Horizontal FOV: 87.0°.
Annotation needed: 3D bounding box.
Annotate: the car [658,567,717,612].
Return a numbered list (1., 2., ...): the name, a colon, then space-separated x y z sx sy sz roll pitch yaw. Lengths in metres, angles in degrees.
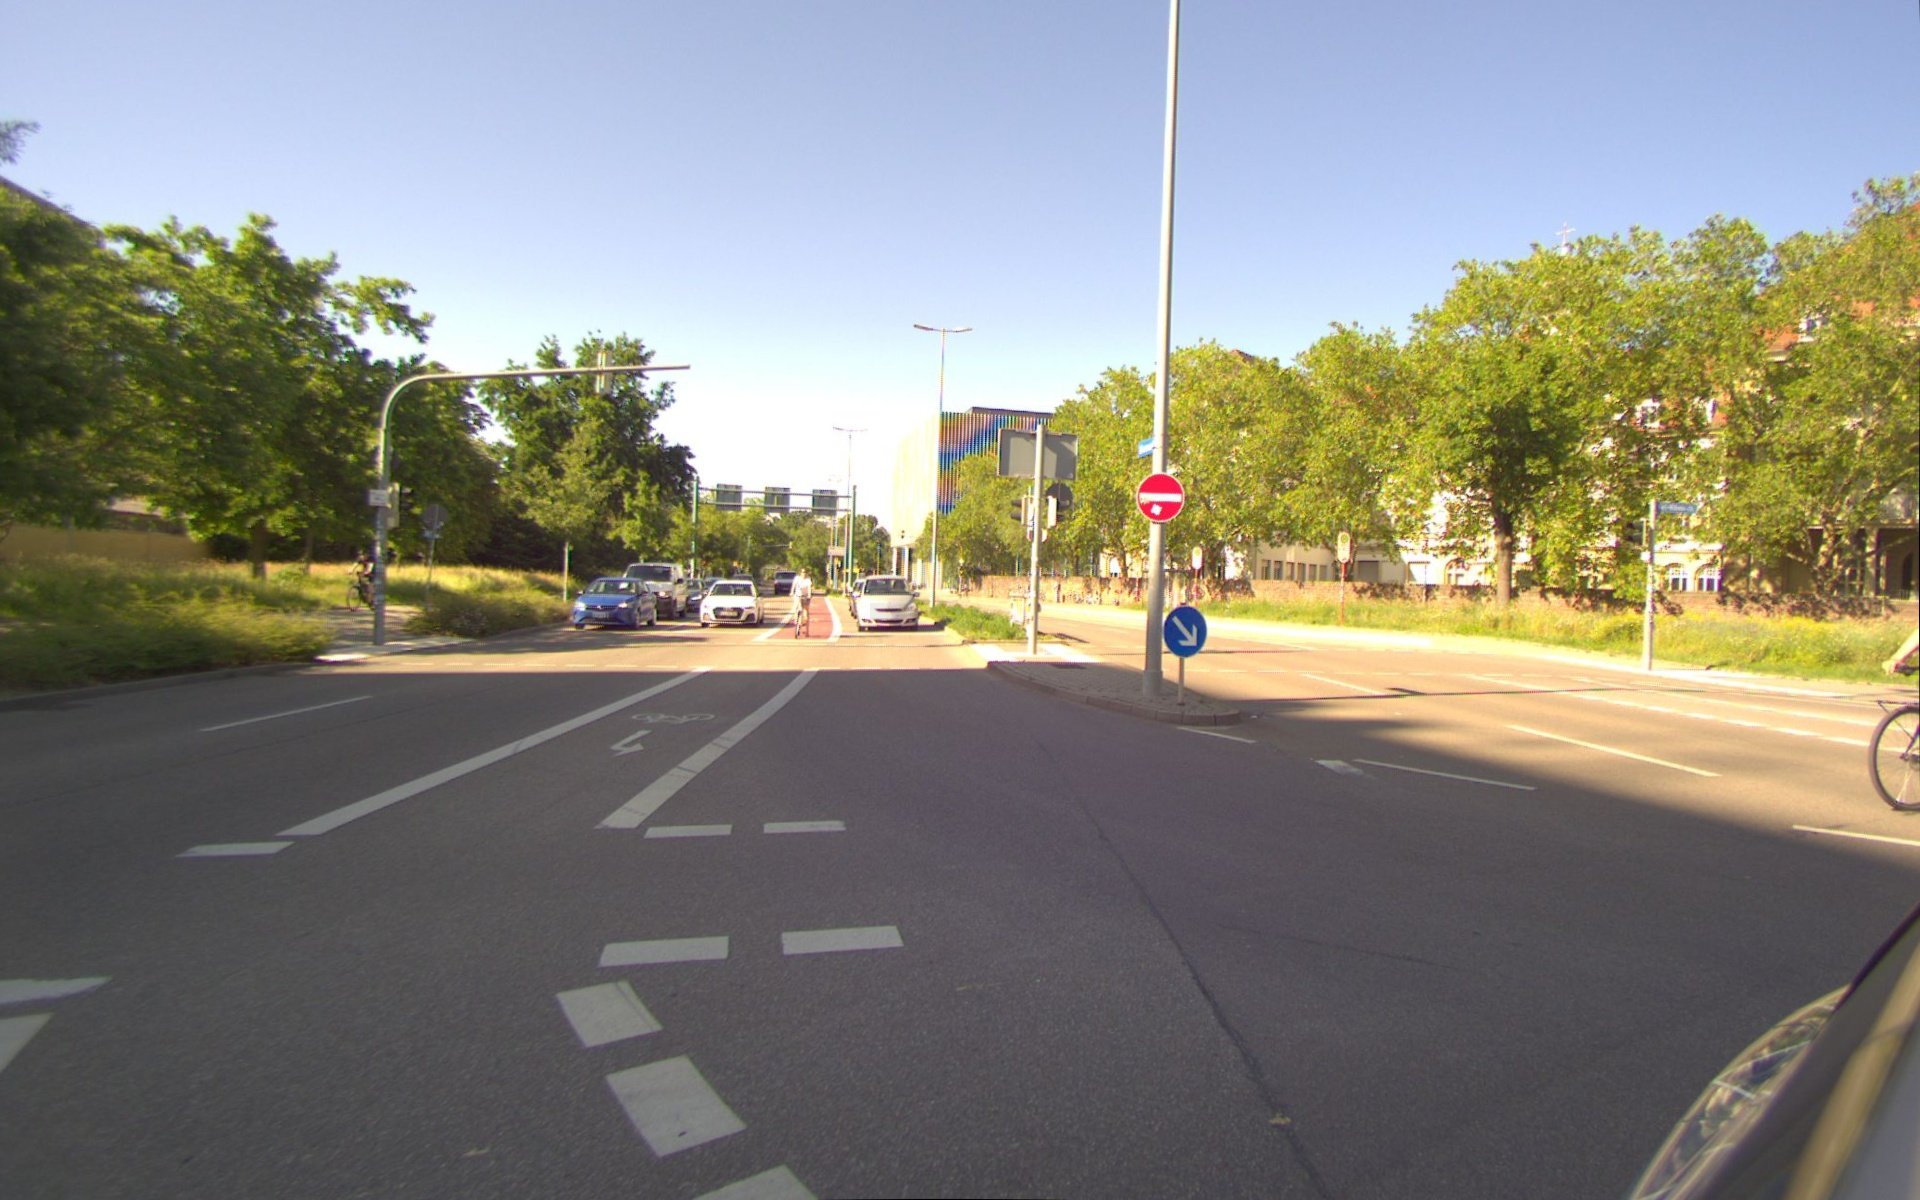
1. car: -11.646 -0.476 43.531 1.900 1.821 4.367 0 1 -7

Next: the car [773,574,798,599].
1. car: -14.277 -1.088 82.816 1.899 1.977 4.539 0 1 -8

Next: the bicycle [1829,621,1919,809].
1. bicycle: 6.987 0.747 6.868 1.831 1.179 0.644 0 1 -11

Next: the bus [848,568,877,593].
1. bus: -13.936 -2.804 144.845 2.925 3.315 6.268 2 -1 -16

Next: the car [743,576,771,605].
1. car: -14.452 -0.701 72.084 1.899 1.977 4.766 0 1 -11

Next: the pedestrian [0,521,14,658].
1. pedestrian: -13.247 -0.153 13.371 0.719 1.839 0.734 1 -2 6

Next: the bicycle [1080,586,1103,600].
1. bicycle: 10.663 -0.541 82.087 0.779 1.090 2.089 2 -1 -26

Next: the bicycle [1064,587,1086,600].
1. bicycle: 9.588 -0.531 84.175 0.779 1.090 2.089 2 -1 -26

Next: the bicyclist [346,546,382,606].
1. bicyclist: -17.002 -0.692 28.887 0.630 1.666 0.778 2 0 -10

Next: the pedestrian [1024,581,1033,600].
1. pedestrian: 5.952 -0.867 88.335 0.639 1.632 0.559 2 -2 -13

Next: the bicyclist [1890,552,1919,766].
1. bicyclist: 7.066 0.412 6.881 0.933 1.462 0.644 1 0 -11

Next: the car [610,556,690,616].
1. car: -10.748 -0.498 35.447 1.900 1.977 4.764 0 1 -7

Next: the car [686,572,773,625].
1. car: -7.095 -0.100 31.491 1.961 1.487 4.003 2 1 -3

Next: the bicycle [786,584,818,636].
1. bicycle: -4.047 0.235 25.910 0.733 1.179 1.874 2 2 -9

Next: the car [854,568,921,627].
1. car: -2.246 -0.107 30.383 1.753 1.645 4.322 0 1 -7

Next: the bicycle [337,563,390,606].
1. bicycle: -17.011 -0.447 28.895 0.630 1.179 1.873 2 1 -9

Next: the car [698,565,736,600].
1. car: -13.375 -0.971 55.886 1.808 1.852 4.399 0 1 -10

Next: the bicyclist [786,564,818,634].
1. bicyclist: -4.021 -0.039 25.808 0.731 1.705 0.980 2 2 -9

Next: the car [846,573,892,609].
1. car: -4.258 -0.450 46.776 1.943 1.573 4.731 0 1 -7

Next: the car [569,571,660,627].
1. car: -9.741 -0.065 28.782 1.670 1.460 4.006 0 1 -7

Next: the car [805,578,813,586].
1. car: -31.488 -3.807 210.546 1.658 1.612 3.605 0 1 -8
